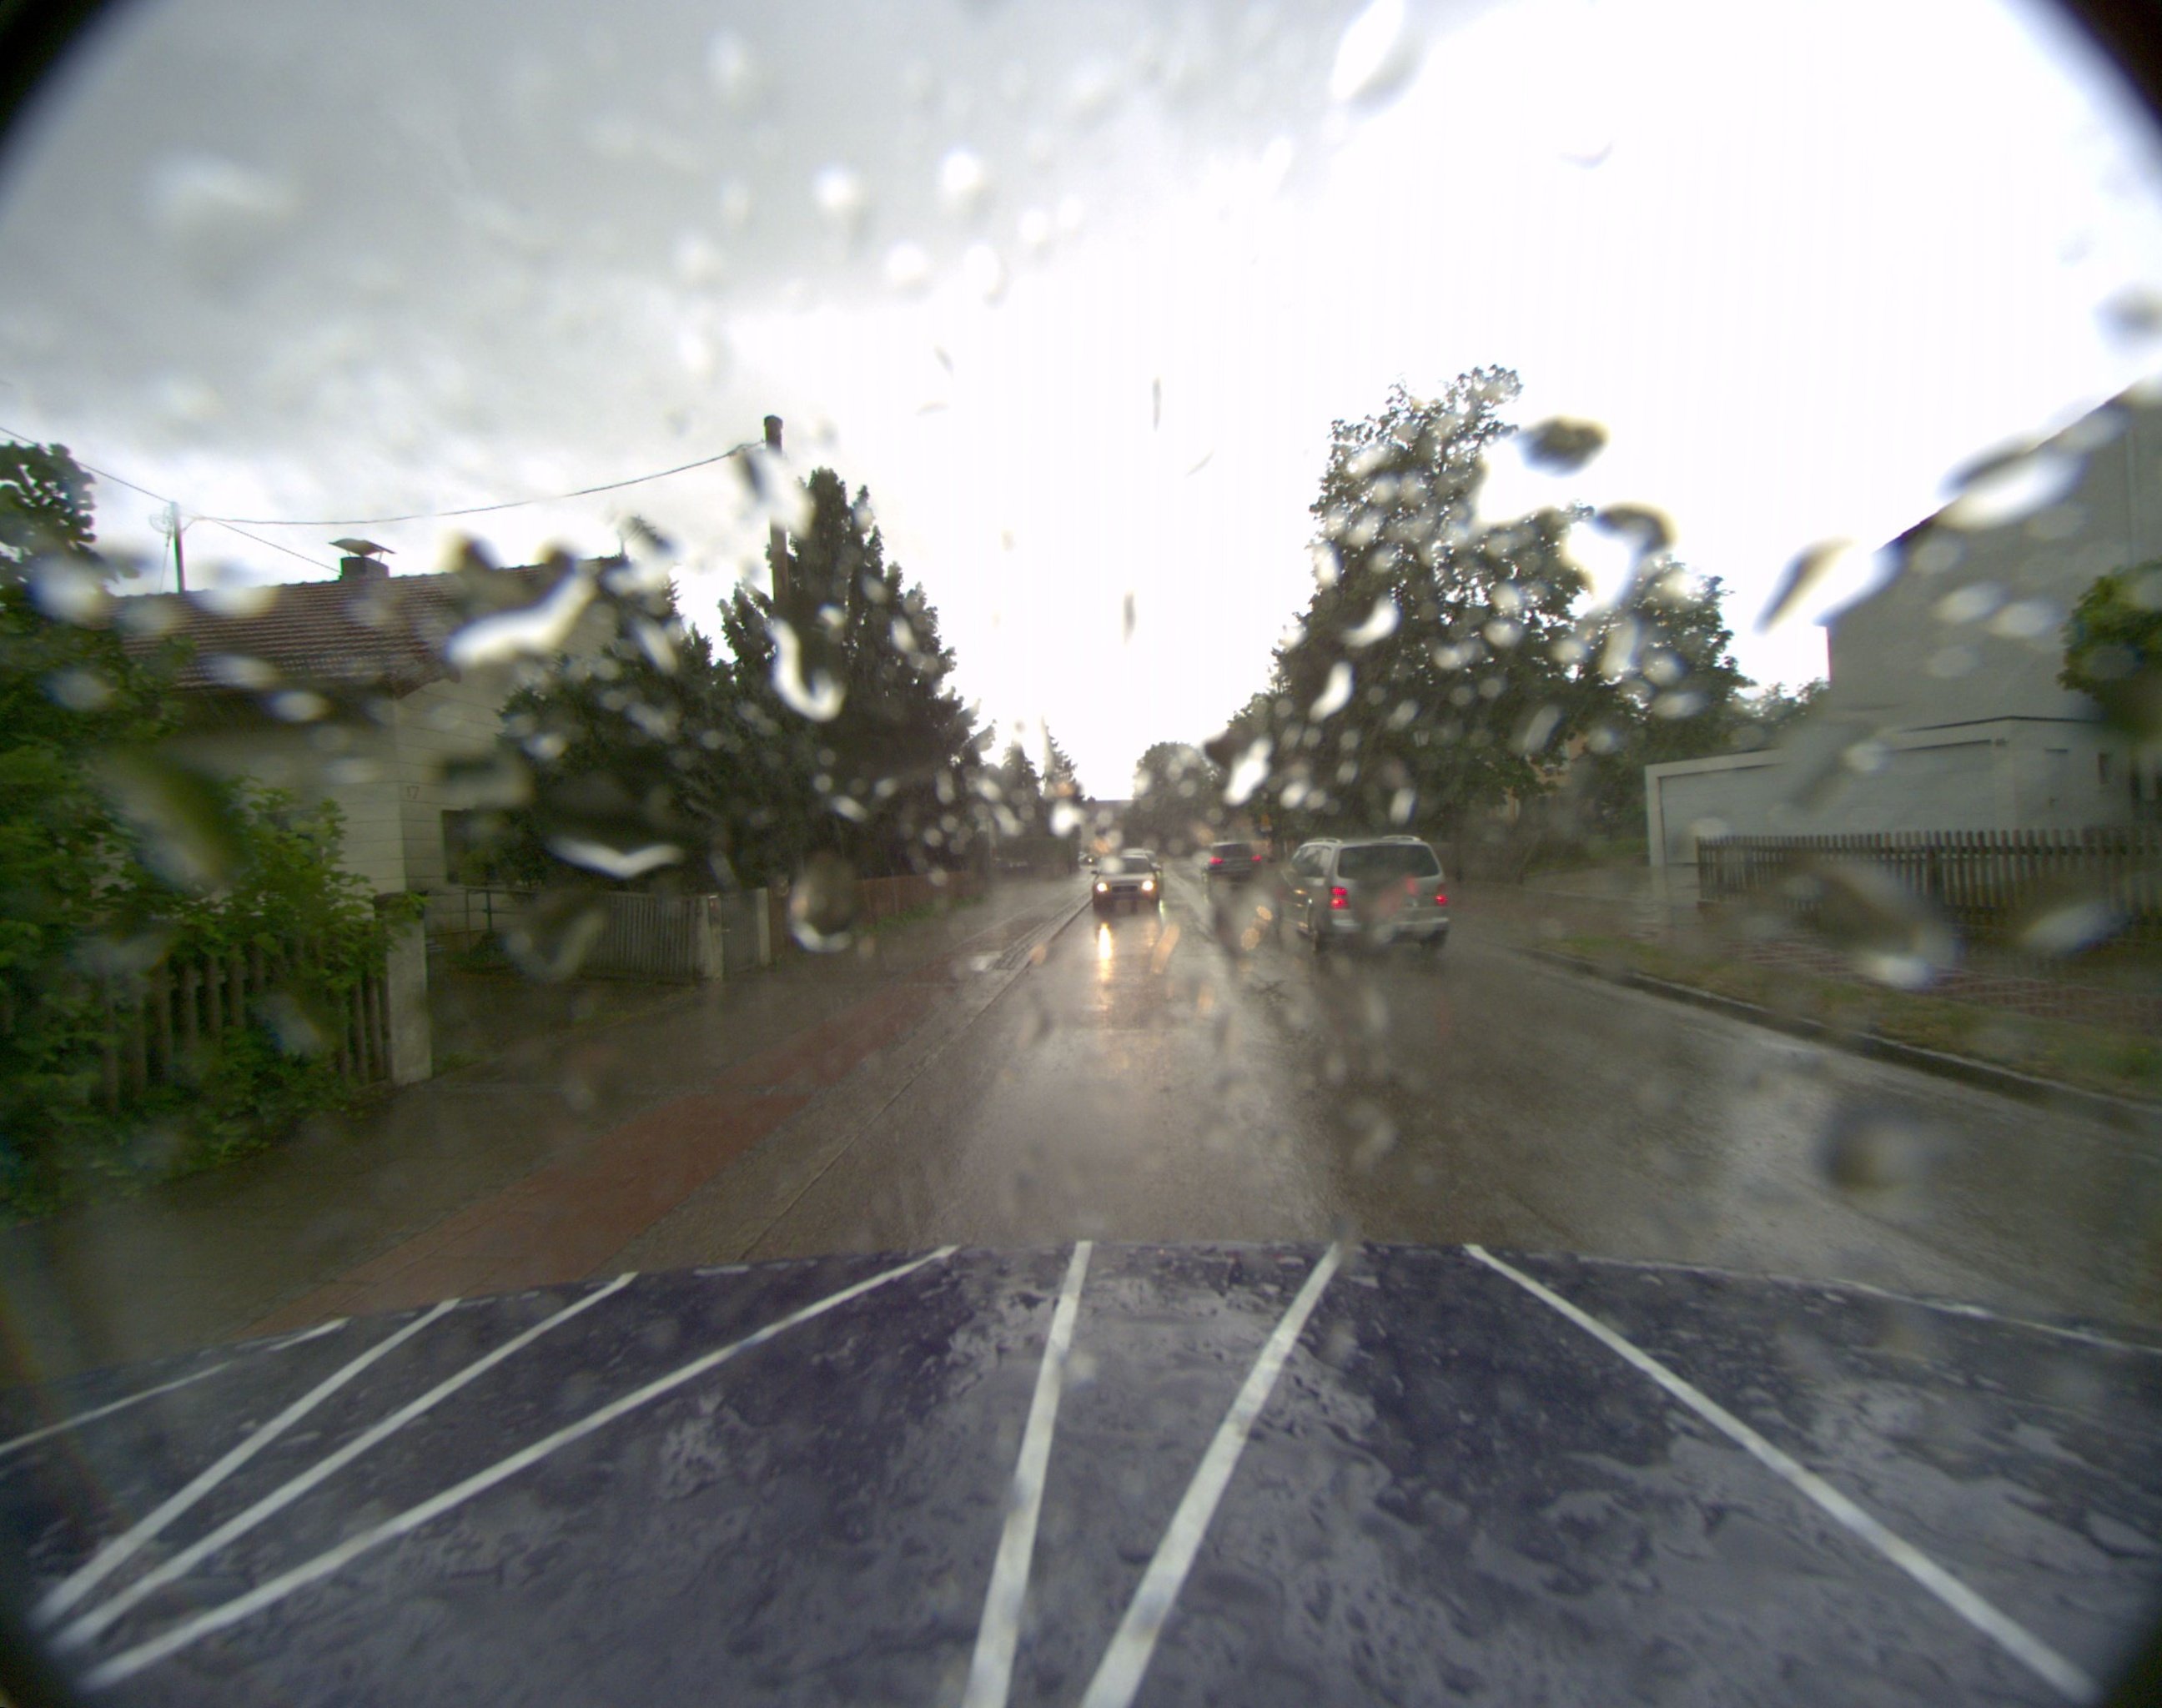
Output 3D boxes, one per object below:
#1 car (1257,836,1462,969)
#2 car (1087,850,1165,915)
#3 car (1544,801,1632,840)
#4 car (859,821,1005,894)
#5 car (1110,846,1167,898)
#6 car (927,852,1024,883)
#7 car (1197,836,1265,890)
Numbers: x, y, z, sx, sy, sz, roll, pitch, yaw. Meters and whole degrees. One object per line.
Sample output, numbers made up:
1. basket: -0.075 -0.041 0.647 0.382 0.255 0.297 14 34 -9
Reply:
1. car: 4.020 0.601 11.701 1.757 1.668 4.000 -1 1 1
2. car: 1.277 0.695 20.928 1.872 1.512 4.189 -3 1 5
3. car: 29.029 -1.912 43.602 1.844 1.792 3.650 -6 0 -29
4. car: -5.666 0.101 29.513 5.319 2.712 1.999 0 1 -5
5. car: 2.209 0.613 29.137 1.872 1.603 4.961 -5 1 5
6. car: -4.960 0.643 36.176 4.441 1.413 1.830 0 1 -3
7. car: 5.318 0.268 27.433 1.926 1.734 4.192 -2 1 5
